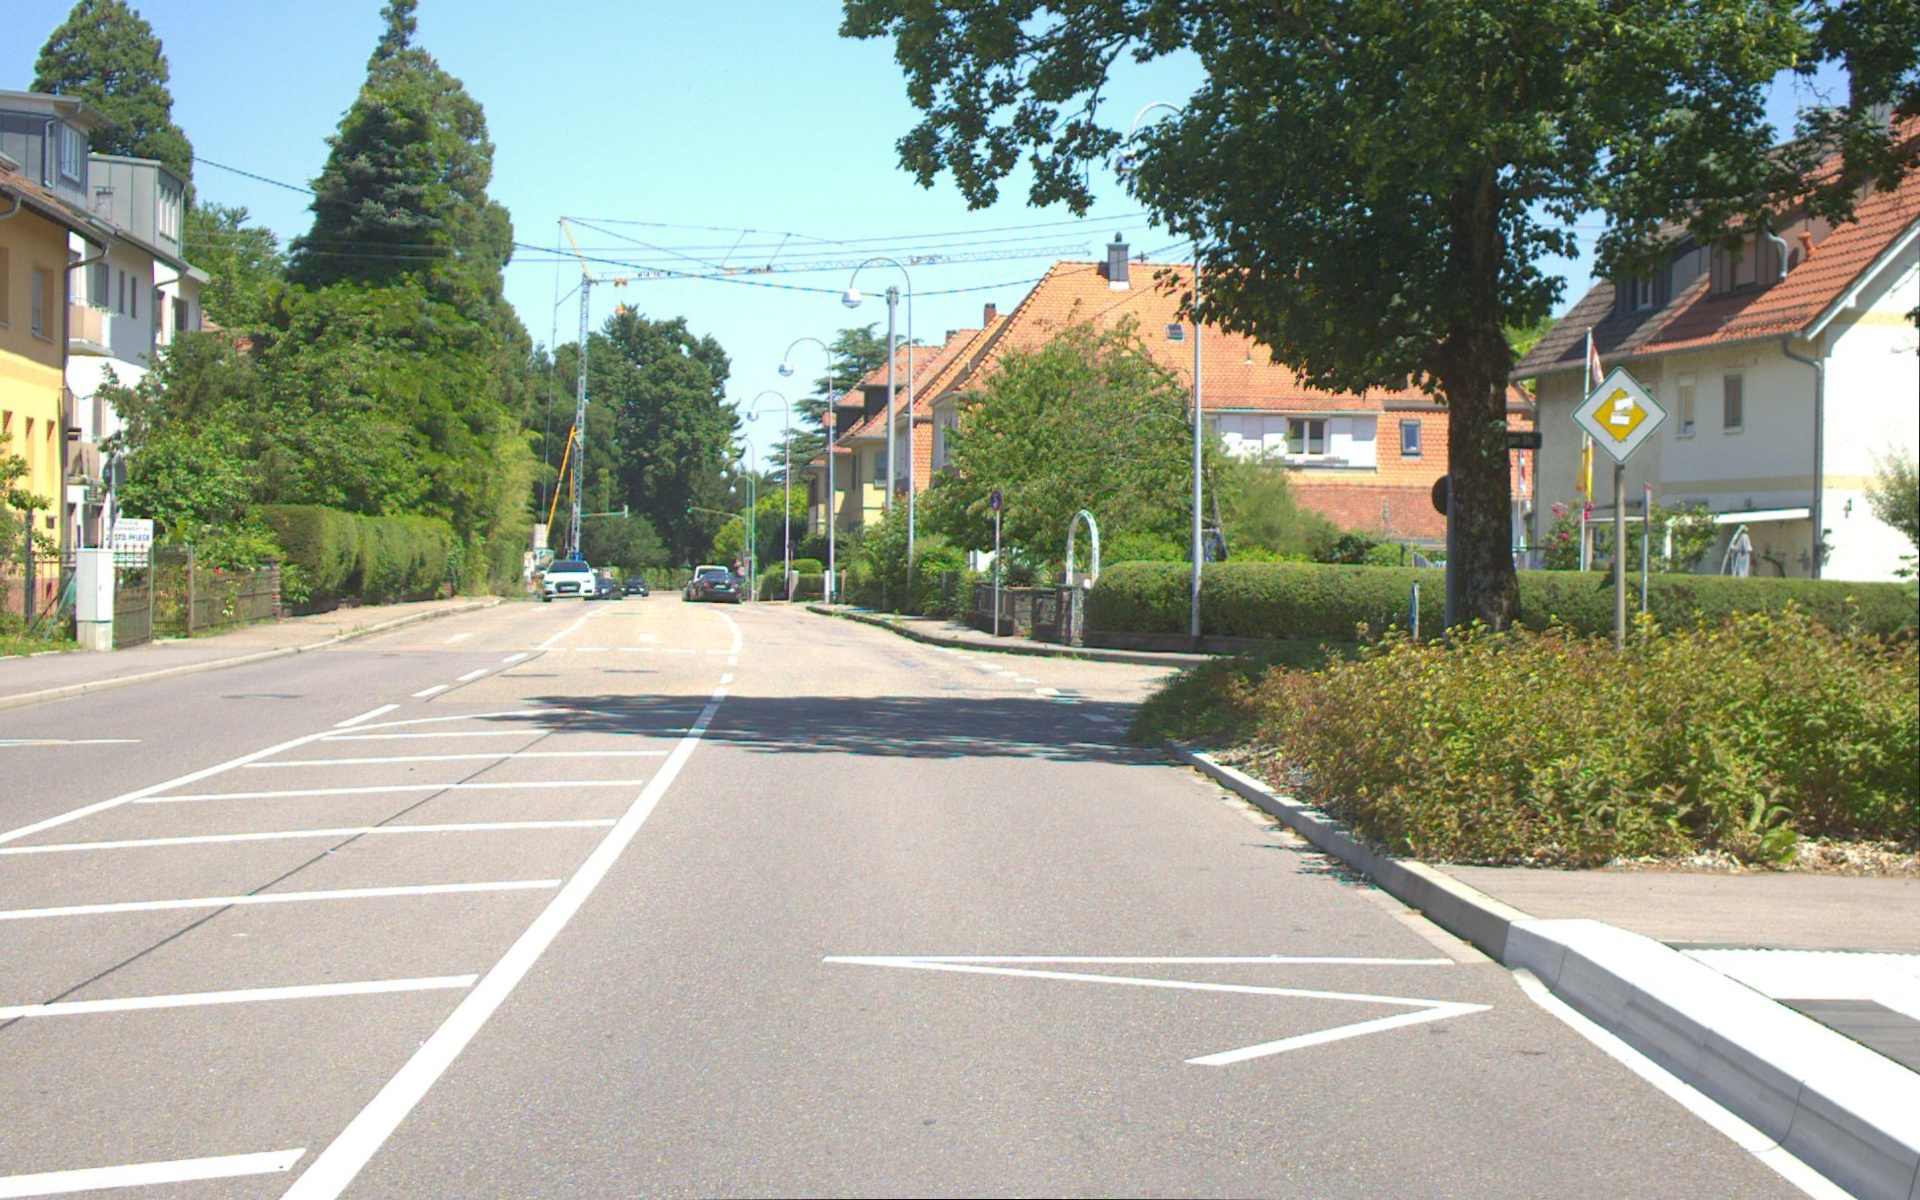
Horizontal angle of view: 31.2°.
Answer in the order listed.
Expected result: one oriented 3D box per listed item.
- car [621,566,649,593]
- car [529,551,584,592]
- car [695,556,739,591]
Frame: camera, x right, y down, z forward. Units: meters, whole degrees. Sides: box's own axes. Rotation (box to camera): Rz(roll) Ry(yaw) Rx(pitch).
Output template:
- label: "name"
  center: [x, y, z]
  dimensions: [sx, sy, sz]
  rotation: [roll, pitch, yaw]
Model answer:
- label: "car"
  center: [-24.482, -1.568, 258.633]
  dimensions: [1.993, 1.844, 4.712]
  rotation: [1, 2, -6]
- label: "car"
  center: [-13.773, -0.991, 117.524]
  dimensions: [1.680, 1.368, 4.207]
  rotation: [0, 1, -4]
- label: "car"
  center: [-10.604, -1.138, 149.768]
  dimensions: [1.692, 1.414, 4.551]
  rotation: [1, -1, -6]
